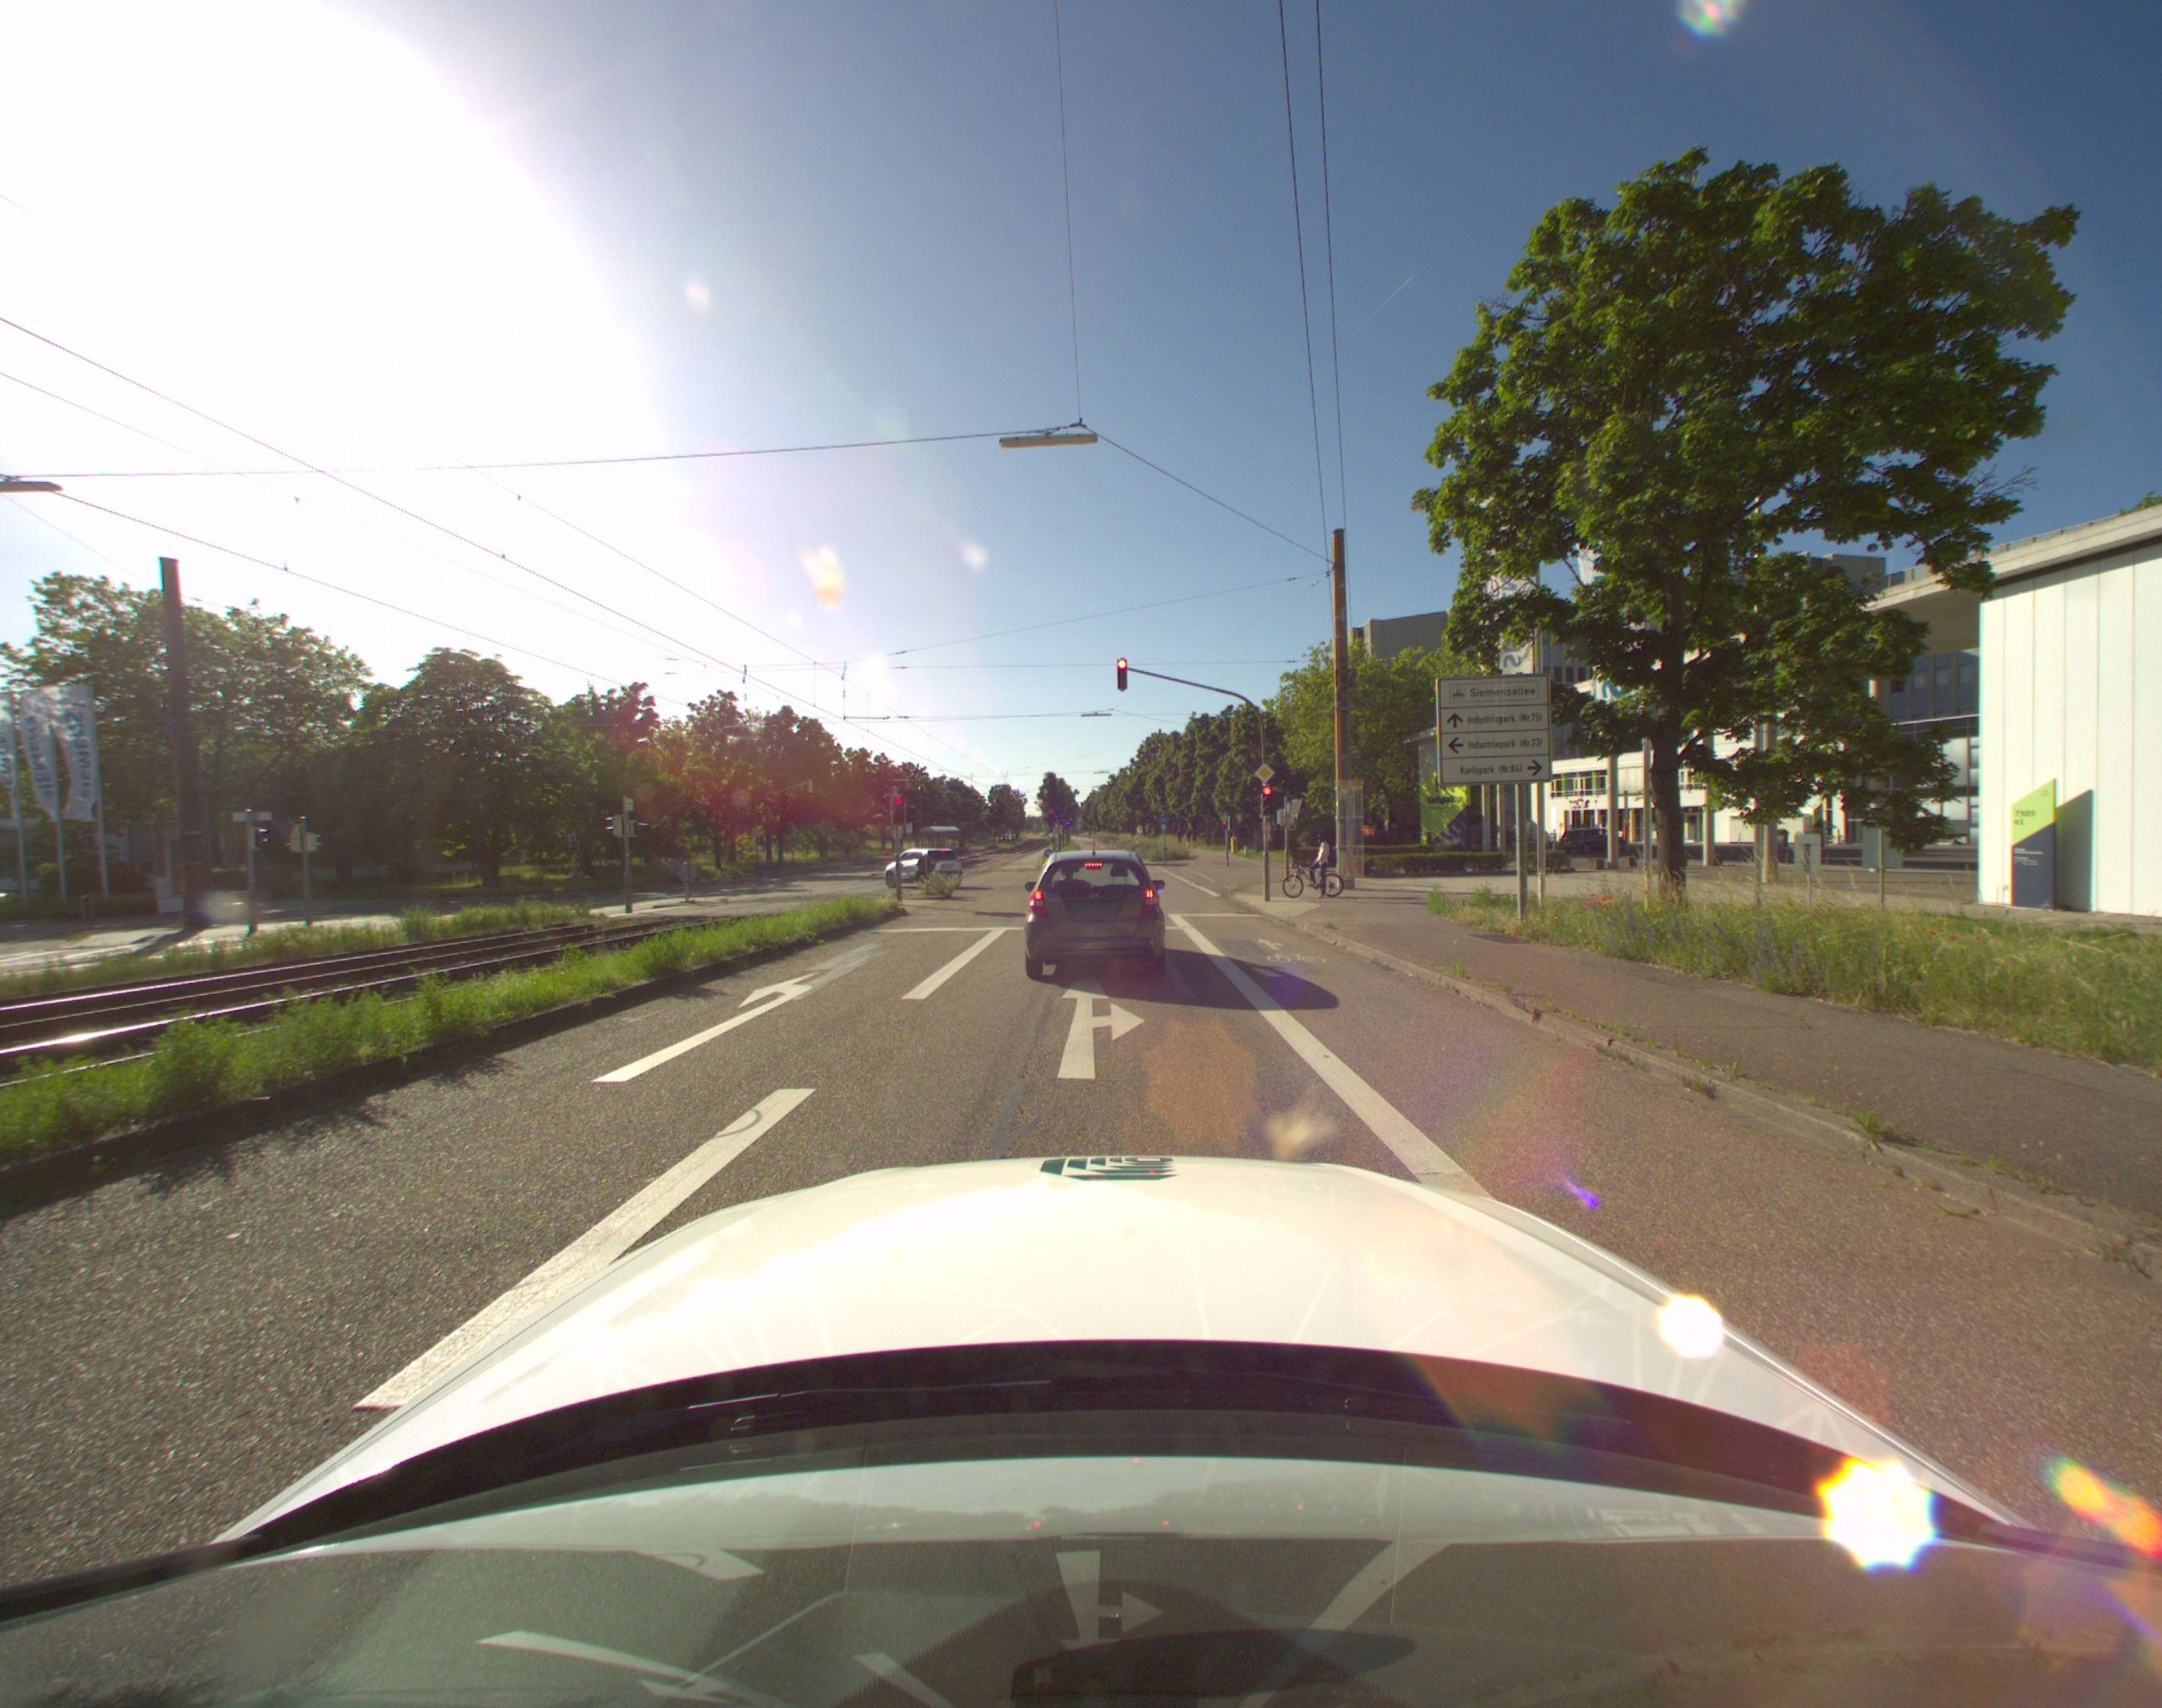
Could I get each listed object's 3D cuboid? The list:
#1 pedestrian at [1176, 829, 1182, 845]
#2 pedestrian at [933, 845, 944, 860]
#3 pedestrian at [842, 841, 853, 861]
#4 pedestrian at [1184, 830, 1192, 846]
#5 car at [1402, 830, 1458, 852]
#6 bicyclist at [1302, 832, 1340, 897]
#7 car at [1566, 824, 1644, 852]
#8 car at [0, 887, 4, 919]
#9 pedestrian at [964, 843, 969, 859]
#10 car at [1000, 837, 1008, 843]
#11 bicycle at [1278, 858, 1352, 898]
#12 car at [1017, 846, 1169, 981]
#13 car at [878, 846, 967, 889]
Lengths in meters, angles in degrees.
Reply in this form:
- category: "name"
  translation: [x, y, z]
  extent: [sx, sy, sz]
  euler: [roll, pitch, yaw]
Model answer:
- category: "pedestrian"
  translation: [10.233, -1.762, 84.854]
  extent: [0.565, 1.596, 0.665]
  euler: [0, 0, -2]
- category: "pedestrian"
  translation: [-12.196, -0.138, 69.620]
  extent: [0.718, 1.246, 0.710]
  euler: [-2, 1, 0]
- category: "pedestrian"
  translation: [-23.920, -0.298, 83.551]
  extent: [0.837, 2.013, 0.863]
  euler: [-1, 0, 0]
- category: "pedestrian"
  translation: [11.137, -1.644, 84.750]
  extent: [0.676, 1.610, 0.720]
  euler: [0, 0, -1]
- category: "car"
  translation: [30.037, -1.134, 70.132]
  extent: [3.988, 1.757, 1.993]
  euler: [-1, 1, -11]
- category: "bicyclist"
  translation: [6.722, 0.284, 22.829]
  extent: [0.904, 1.745, 0.767]
  euler: [-3, 0, 12]
- category: "car"
  translation: [33.960, -1.044, 52.843]
  extent: [3.984, 1.720, 1.895]
  euler: [-1, 1, -8]
- category: "car"
  translation: [-51.135, 2.321, 36.058]
  extent: [1.685, 1.488, 3.862]
  euler: [-1, 1, 1]
- category: "pedestrian"
  translation: [-11.874, -0.333, 84.229]
  extent: [0.502, 1.675, 0.386]
  euler: [-1, 0, -10]
- category: "car"
  translation: [-20.867, -3.808, 221.867]
  extent: [1.761, 1.738, 3.999]
  euler: [-1, 0, 0]
- category: "bicycle"
  translation: [6.534, 0.664, 22.873]
  extent: [1.907, 0.998, 0.767]
  euler: [-3, 0, 12]
- category: "car"
  translation: [0.228, 0.656, 11.176]
  extent: [1.700, 1.508, 4.003]
  euler: [-1, 0, 3]
- category: "car"
  translation: [-6.598, 0.534, 33.591]
  extent: [1.866, 1.606, 4.206]
  euler: [-1, 0, -38]
